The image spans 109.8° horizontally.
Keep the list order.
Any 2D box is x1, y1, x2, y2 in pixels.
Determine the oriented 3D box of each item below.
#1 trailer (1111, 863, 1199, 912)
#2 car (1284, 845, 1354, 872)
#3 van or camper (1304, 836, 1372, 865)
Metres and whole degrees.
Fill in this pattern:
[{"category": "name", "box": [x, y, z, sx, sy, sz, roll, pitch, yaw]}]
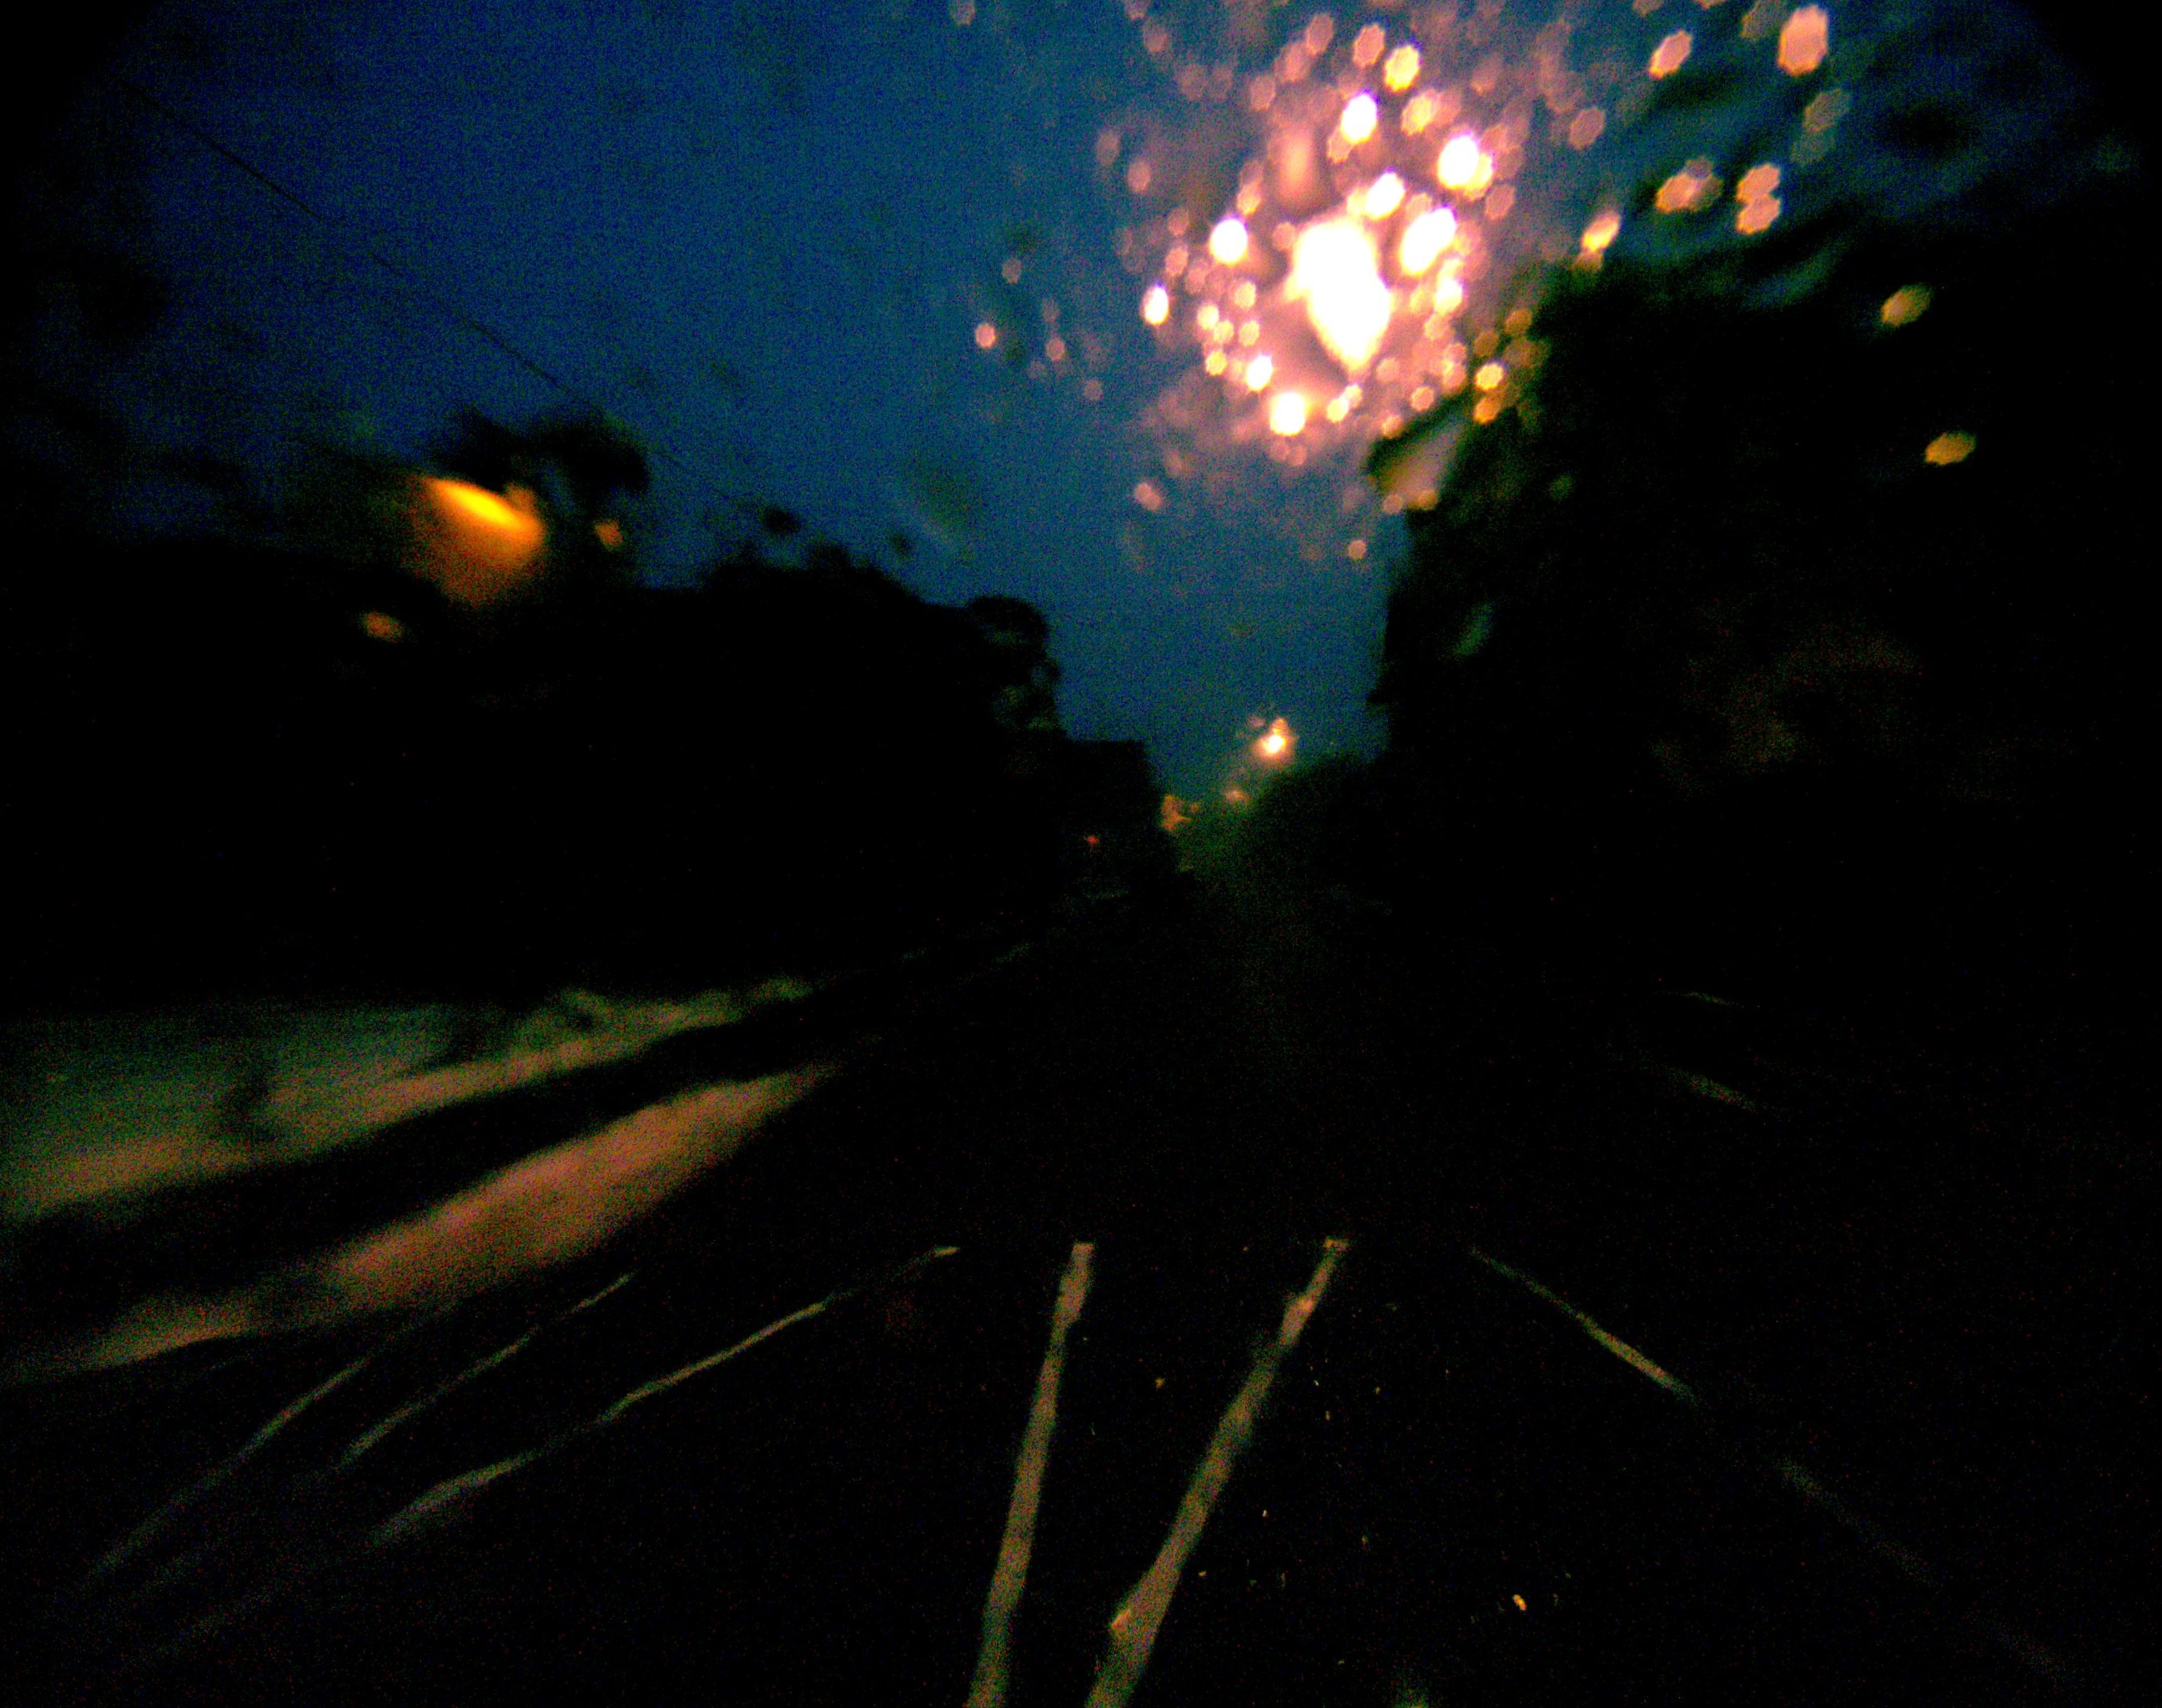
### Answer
[{"category": "trailer", "box": [2.597, 1.076, 25.536, 1.996, 1.380, 4.737, -2, 0, 17]}, {"category": "car", "box": [17.980, 0.345, 57.707, 4.800, 1.657, 1.891, -4, 2, 11]}, {"category": "van or camper", "box": [22.383, -0.325, 66.300, 5.308, 2.434, 2.142, 0, 1, -15]}]
